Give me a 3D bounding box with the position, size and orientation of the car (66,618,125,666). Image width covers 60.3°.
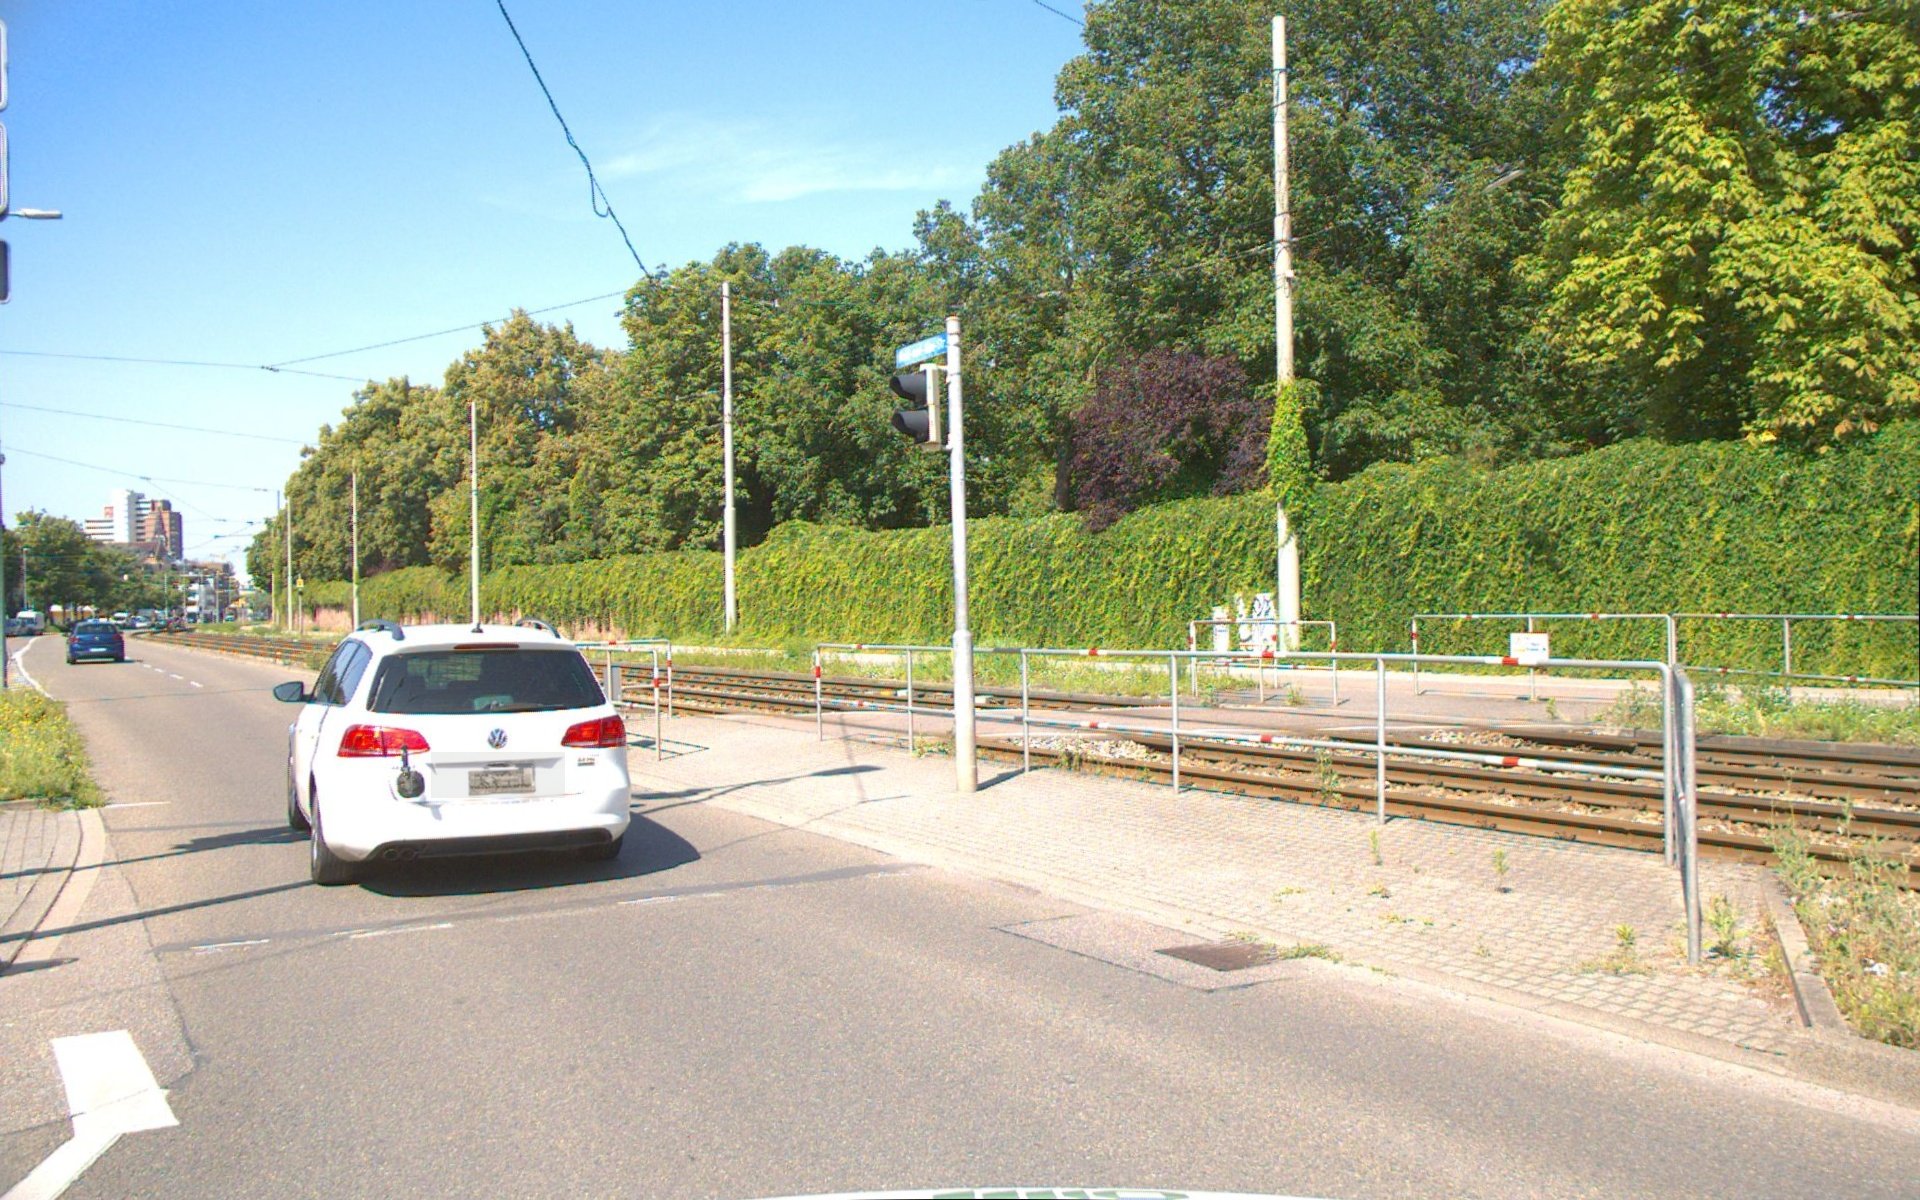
[{"bbox_3d":[-30.446,1.440,58.238,1.780,1.534,3.963,-1,0,-28],"label":"car"}]

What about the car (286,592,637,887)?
[{"bbox_3d":[-3.413,0.739,10.733,1.669,1.477,4.425,-1,-1,-24],"label":"car"}]
